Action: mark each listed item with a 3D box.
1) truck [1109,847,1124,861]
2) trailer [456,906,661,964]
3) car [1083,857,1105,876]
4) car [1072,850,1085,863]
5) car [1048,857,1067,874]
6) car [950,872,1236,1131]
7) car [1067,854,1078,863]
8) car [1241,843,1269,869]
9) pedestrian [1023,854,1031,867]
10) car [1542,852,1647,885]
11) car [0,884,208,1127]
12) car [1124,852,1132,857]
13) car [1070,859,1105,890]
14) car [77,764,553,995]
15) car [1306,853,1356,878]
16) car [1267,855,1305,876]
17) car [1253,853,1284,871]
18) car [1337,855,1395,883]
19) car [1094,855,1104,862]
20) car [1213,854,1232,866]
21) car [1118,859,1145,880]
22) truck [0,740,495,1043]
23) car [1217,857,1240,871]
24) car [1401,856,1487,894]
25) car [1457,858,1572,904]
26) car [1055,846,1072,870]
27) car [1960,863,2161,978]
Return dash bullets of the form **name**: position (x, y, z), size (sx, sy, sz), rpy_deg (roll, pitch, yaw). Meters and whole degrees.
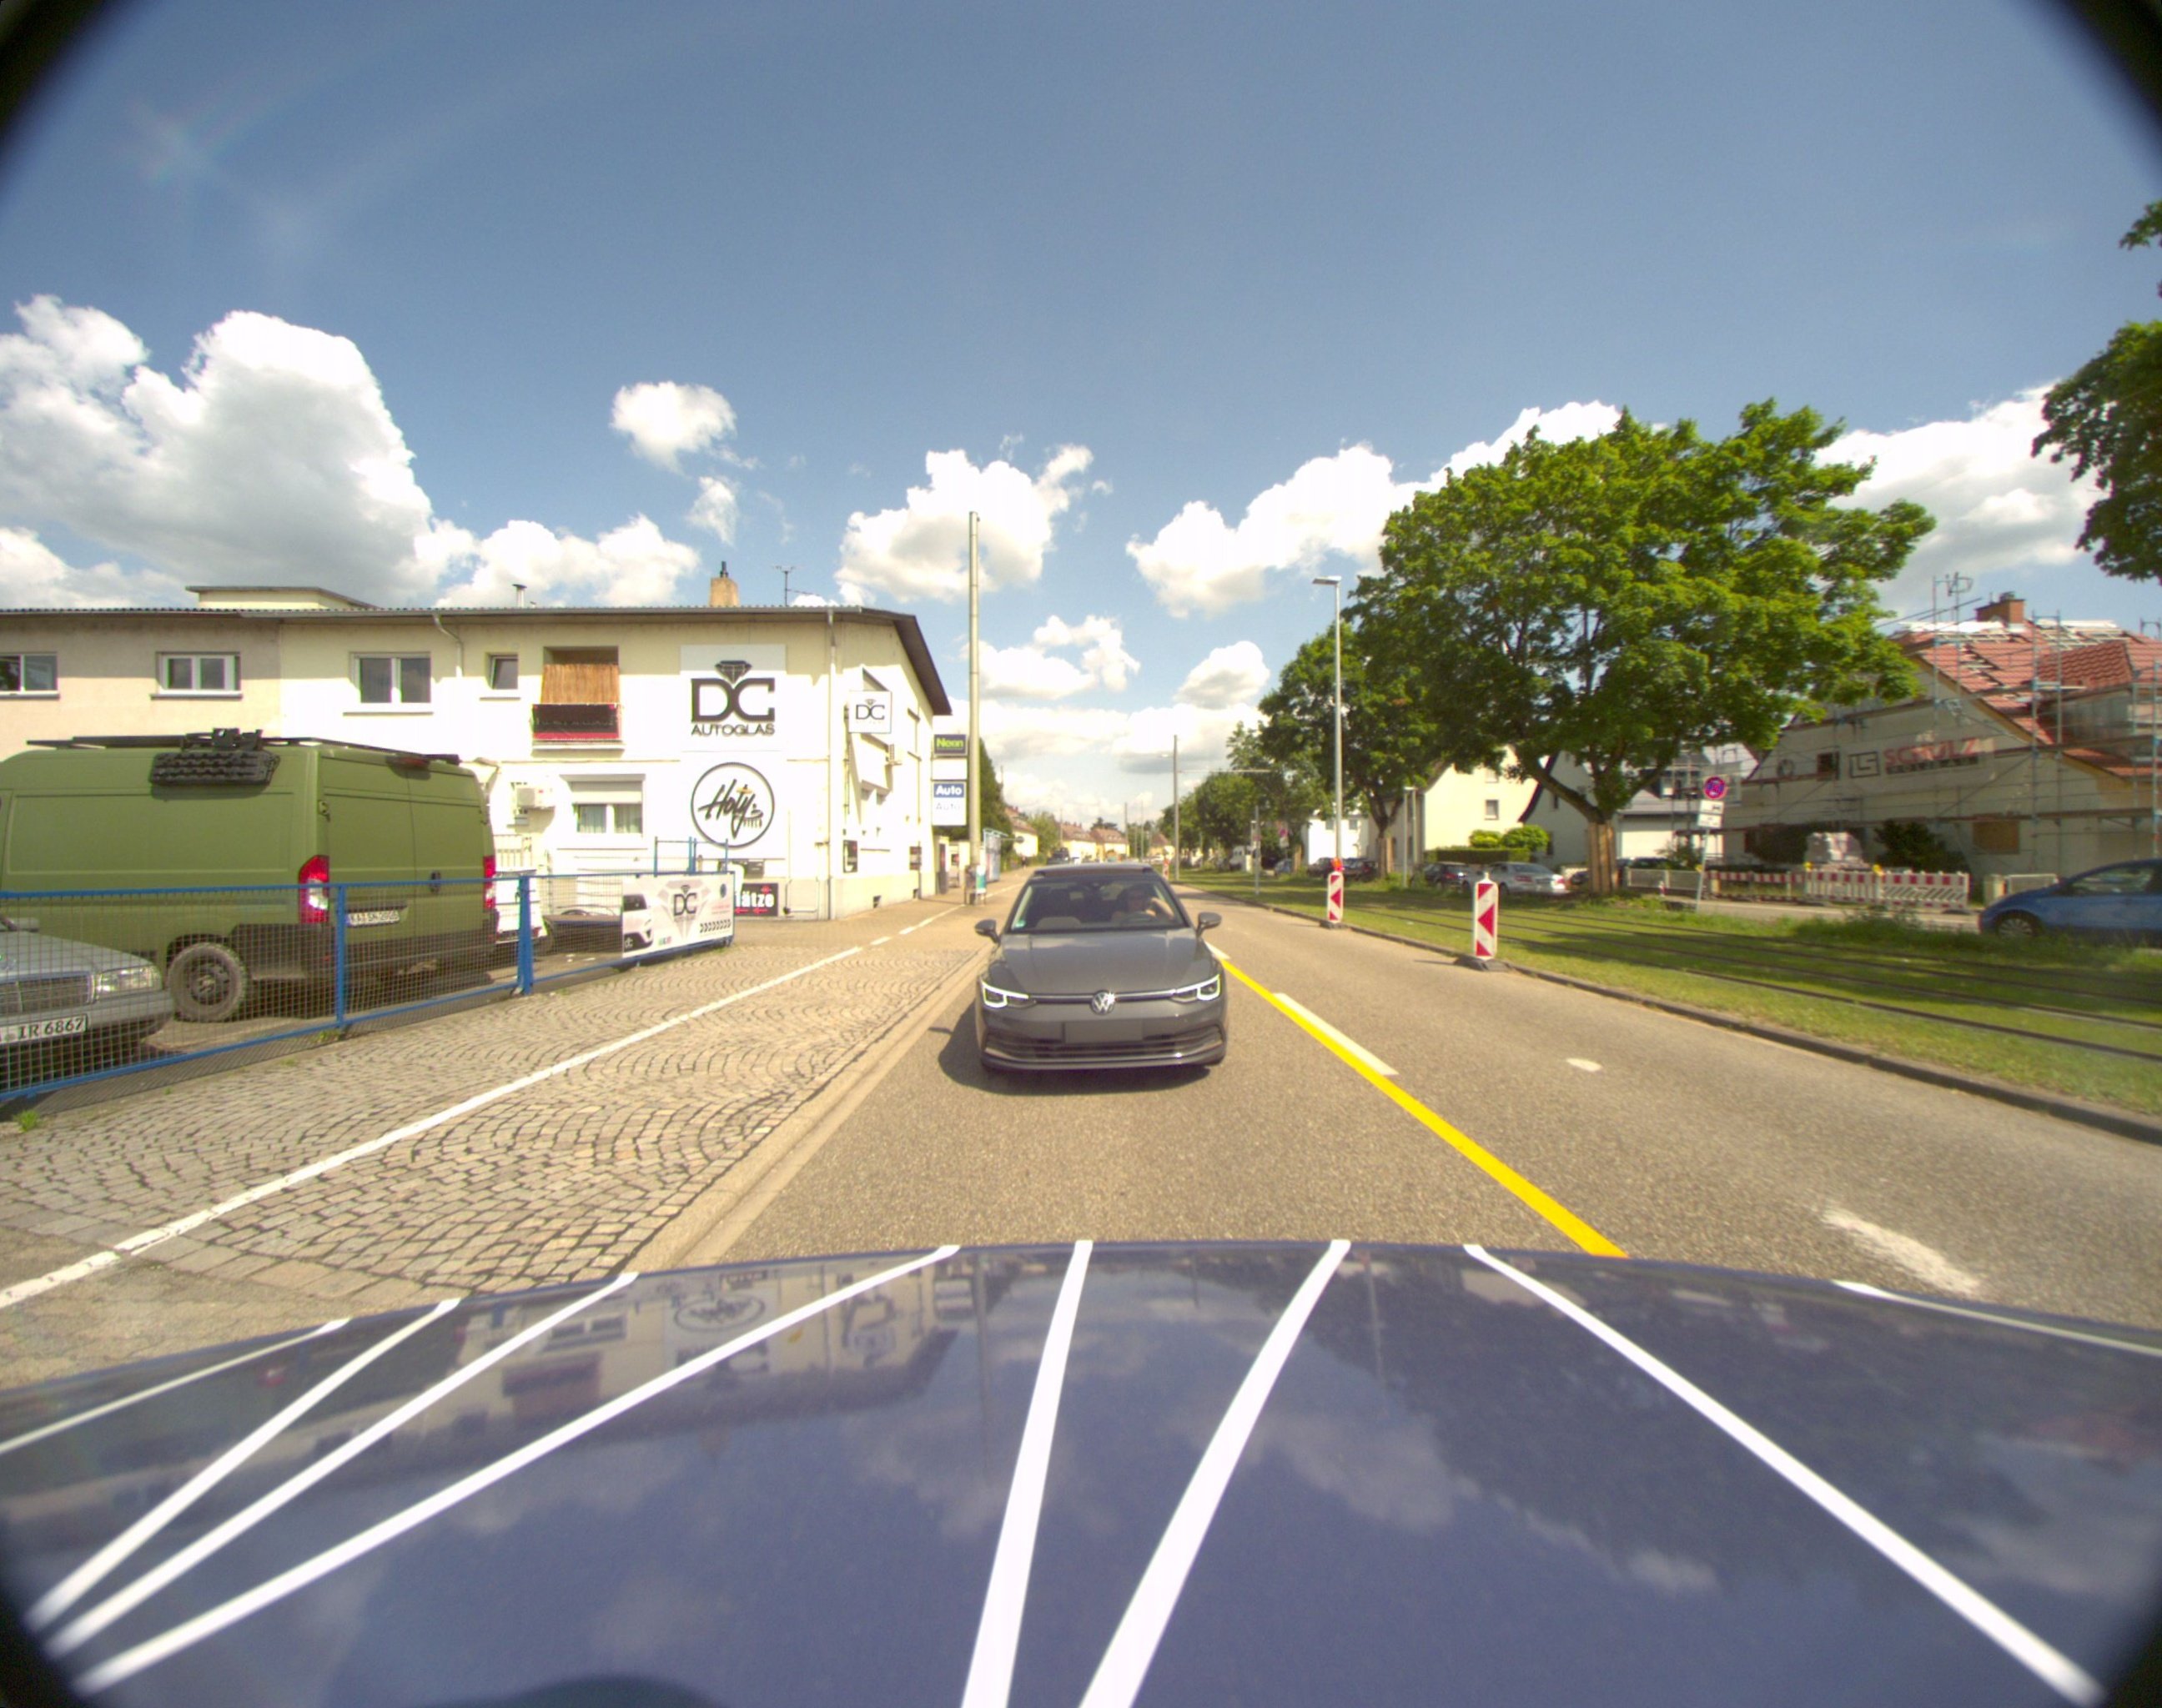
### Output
- **truck**: position (9.406, 0.026, 201.140), size (2.590, 3.431, 8.585), rpy_deg (0, 0, 11)
- **trailer**: position (-8.062, 1.238, 11.841), size (2.329, 0.762, 1.269), rpy_deg (0, 0, 2)
- **car**: position (1.047, 1.028, 62.417), size (1.787, 1.470, 4.009), rpy_deg (0, 0, 1)
- **car**: position (-0.429, 0.403, 136.328), size (1.719, 2.360, 5.211), rpy_deg (0, 0, 5)
- **car**: position (-2.161, 1.067, 70.992), size (1.720, 1.470, 4.009), rpy_deg (0, 0, 0)
- **car**: position (0.099, 0.937, 6.577), size (1.719, 1.470, 4.009), rpy_deg (0, 0, 1)
- **car**: position (-1.365, 0.741, 122.964), size (1.720, 1.470, 4.009), rpy_deg (0, 0, 0)
- **car**: position (17.606, 0.197, 77.088), size (1.755, 2.601, 4.606), rpy_deg (0, 0, 0)
- **pedestrian**: position (-6.423, 0.772, 90.766), size (0.816, 1.577, 0.918), rpy_deg (0, 0, 1)
- **car**: position (25.511, 0.720, 37.838), size (4.047, 1.602, 1.757), rpy_deg (0, 0, 1)
- **car**: position (-8.437, 0.918, 4.815), size (4.206, 1.388, 1.804), rpy_deg (0, 0, 8)
- **car**: position (13.532, 0.240, 218.482), size (1.718, 1.470, 4.013), rpy_deg (0, 0, 13)
- **car**: position (0.345, 1.024, 38.694), size (1.719, 1.470, 4.009), rpy_deg (0, 0, 1)
- **car**: position (-9.455, 0.302, 9.657), size (4.209, 2.653, 1.803), rpy_deg (0, 0, 0)
- **car**: position (16.678, 0.764, 50.912), size (1.755, 1.602, 4.606), rpy_deg (0, 0, 0)
- **car**: position (16.494, 0.917, 61.362), size (1.755, 1.602, 4.606), rpy_deg (0, 0, 0)
- **car**: position (17.584, 0.756, 71.501), size (1.755, 1.602, 4.606), rpy_deg (0, 0, 0)
- **car**: position (16.900, 0.850, 45.273), size (1.755, 1.602, 4.606), rpy_deg (0, 0, 0)
- **car**: position (4.105, 0.999, 172.741), size (1.718, 1.470, 4.011), rpy_deg (0, 0, 8)
- **car**: position (19.959, 0.820, 107.178), size (1.755, 1.602, 4.606), rpy_deg (0, 0, 0)
- **car**: position (3.688, 1.112, 56.051), size (1.755, 1.405, 4.261), rpy_deg (0, 0, 0)
- **truck**: position (-8.624, 0.328, 7.548), size (3.997, 2.592, 2.069), rpy_deg (0, 0, 1)
- **car**: position (16.932, 1.153, 87.275), size (1.755, 1.602, 4.606), rpy_deg (0, 0, 0)
- **car**: position (16.589, 0.916, 35.035), size (1.755, 1.602, 4.606), rpy_deg (0, 0, 0)
- **car**: position (16.388, 0.964, 29.012), size (1.755, 1.602, 4.606), rpy_deg (0, 0, 0)
- **car**: position (-1.918, 0.413, 82.854), size (1.720, 2.526, 5.794), rpy_deg (0, 0, 0)
- **car**: position (16.223, 0.957, 11.237), size (1.755, 1.602, 4.050), rpy_deg (0, 0, 0)
